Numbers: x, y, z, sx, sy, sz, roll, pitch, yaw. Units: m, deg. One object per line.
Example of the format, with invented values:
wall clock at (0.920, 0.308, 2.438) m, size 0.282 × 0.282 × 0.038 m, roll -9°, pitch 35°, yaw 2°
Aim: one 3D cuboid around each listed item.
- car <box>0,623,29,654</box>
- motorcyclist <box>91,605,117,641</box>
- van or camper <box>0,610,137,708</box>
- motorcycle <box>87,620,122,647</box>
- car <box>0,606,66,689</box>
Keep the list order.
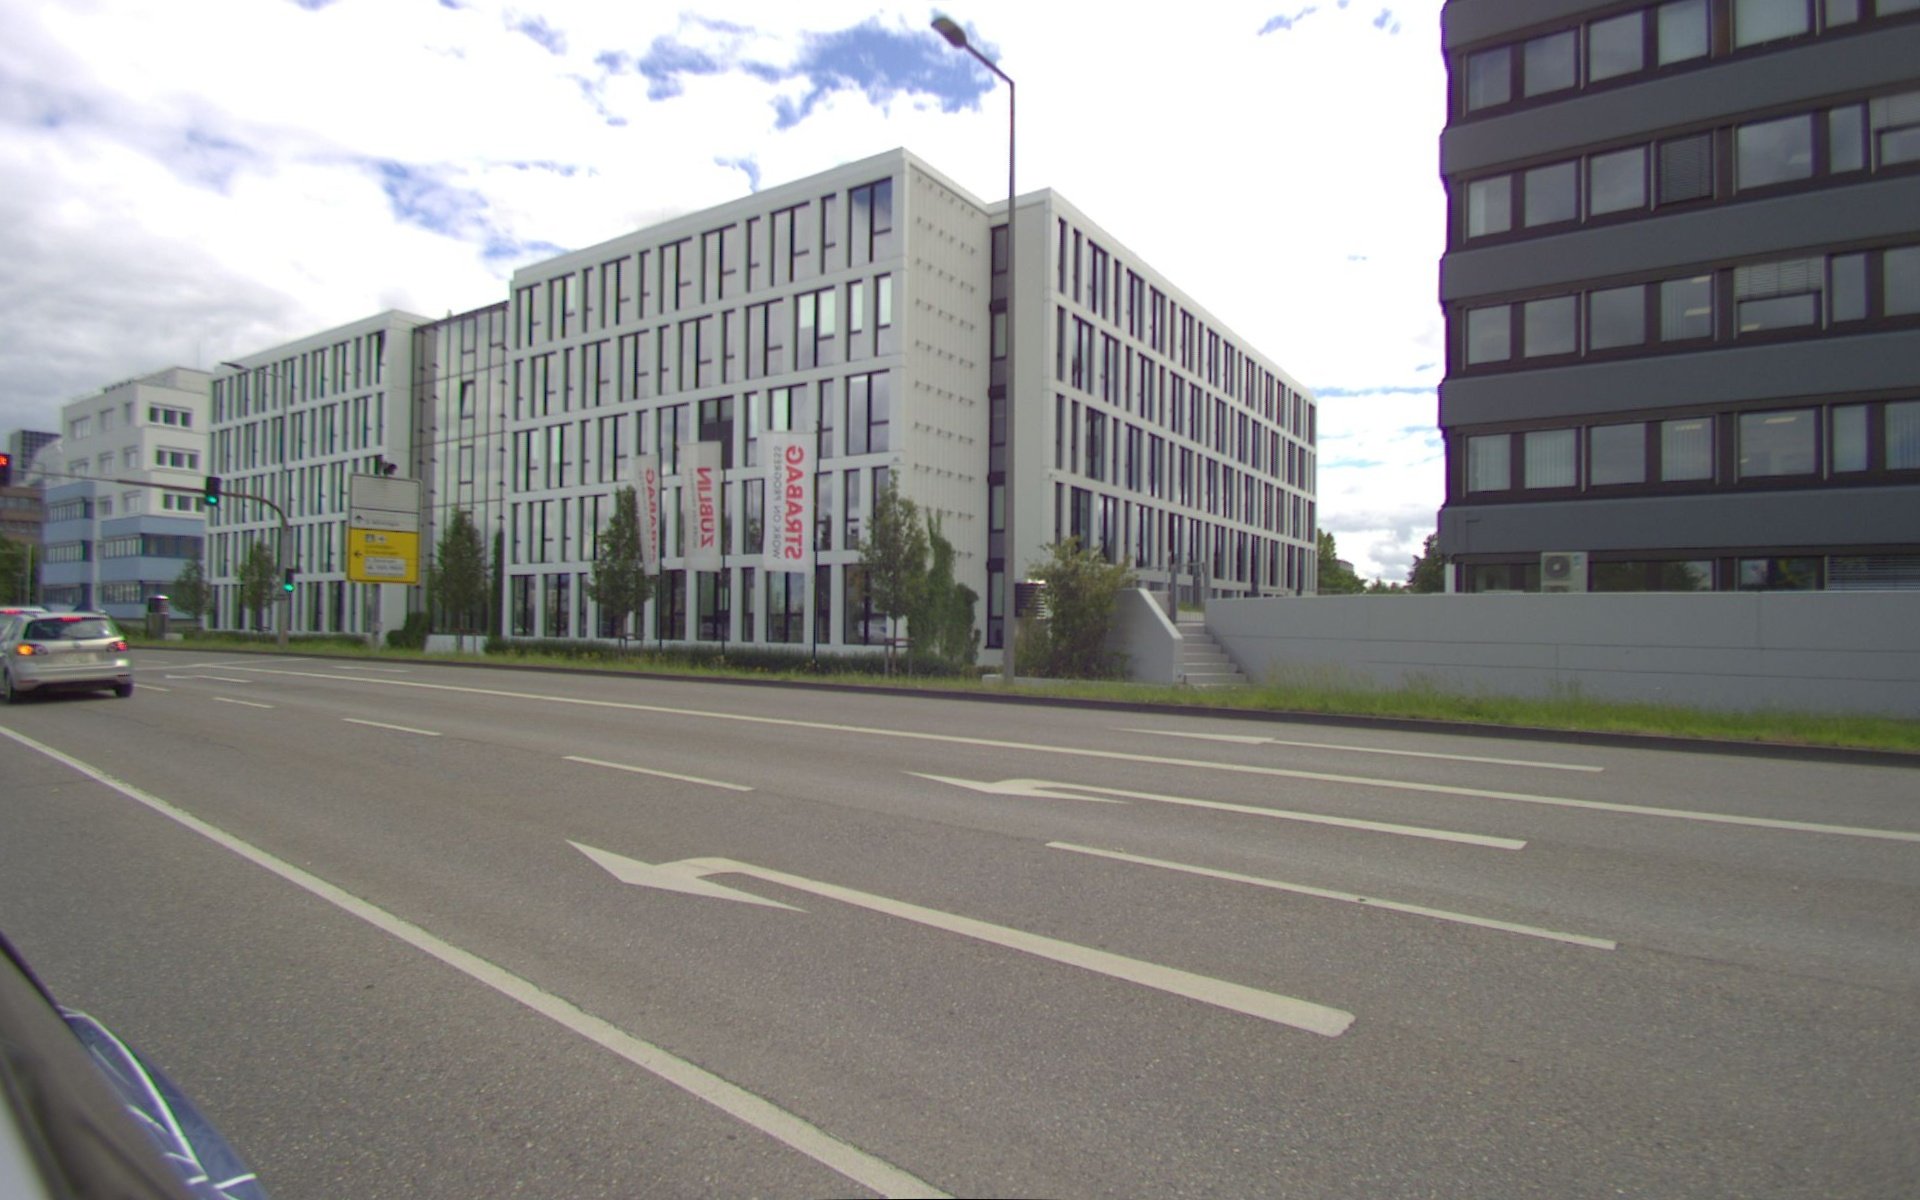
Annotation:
car at (-43.391, 1.725, 45.287) m, size 3.629 × 1.365 × 1.730 m, roll -1°, pitch -1°, yaw 33°
motorcyclist at (-36.233, 0.971, 42.839) m, size 0.915 × 1.521 × 0.648 m, roll -1°, pitch -1°, yaw 34°
van or camper at (-16.823, 1.018, 18.721) m, size 4.041 × 1.622 × 1.726 m, roll -1°, pitch -1°, yaw 39°
motorcycle at (-36.211, 1.418, 42.822) m, size 1.929 × 1.121 × 0.648 m, roll -1°, pitch -1°, yaw 35°
car at (-21.439, 1.022, 22.270) m, size 4.364 × 1.707 × 1.850 m, roll -1°, pitch -1°, yaw 37°
